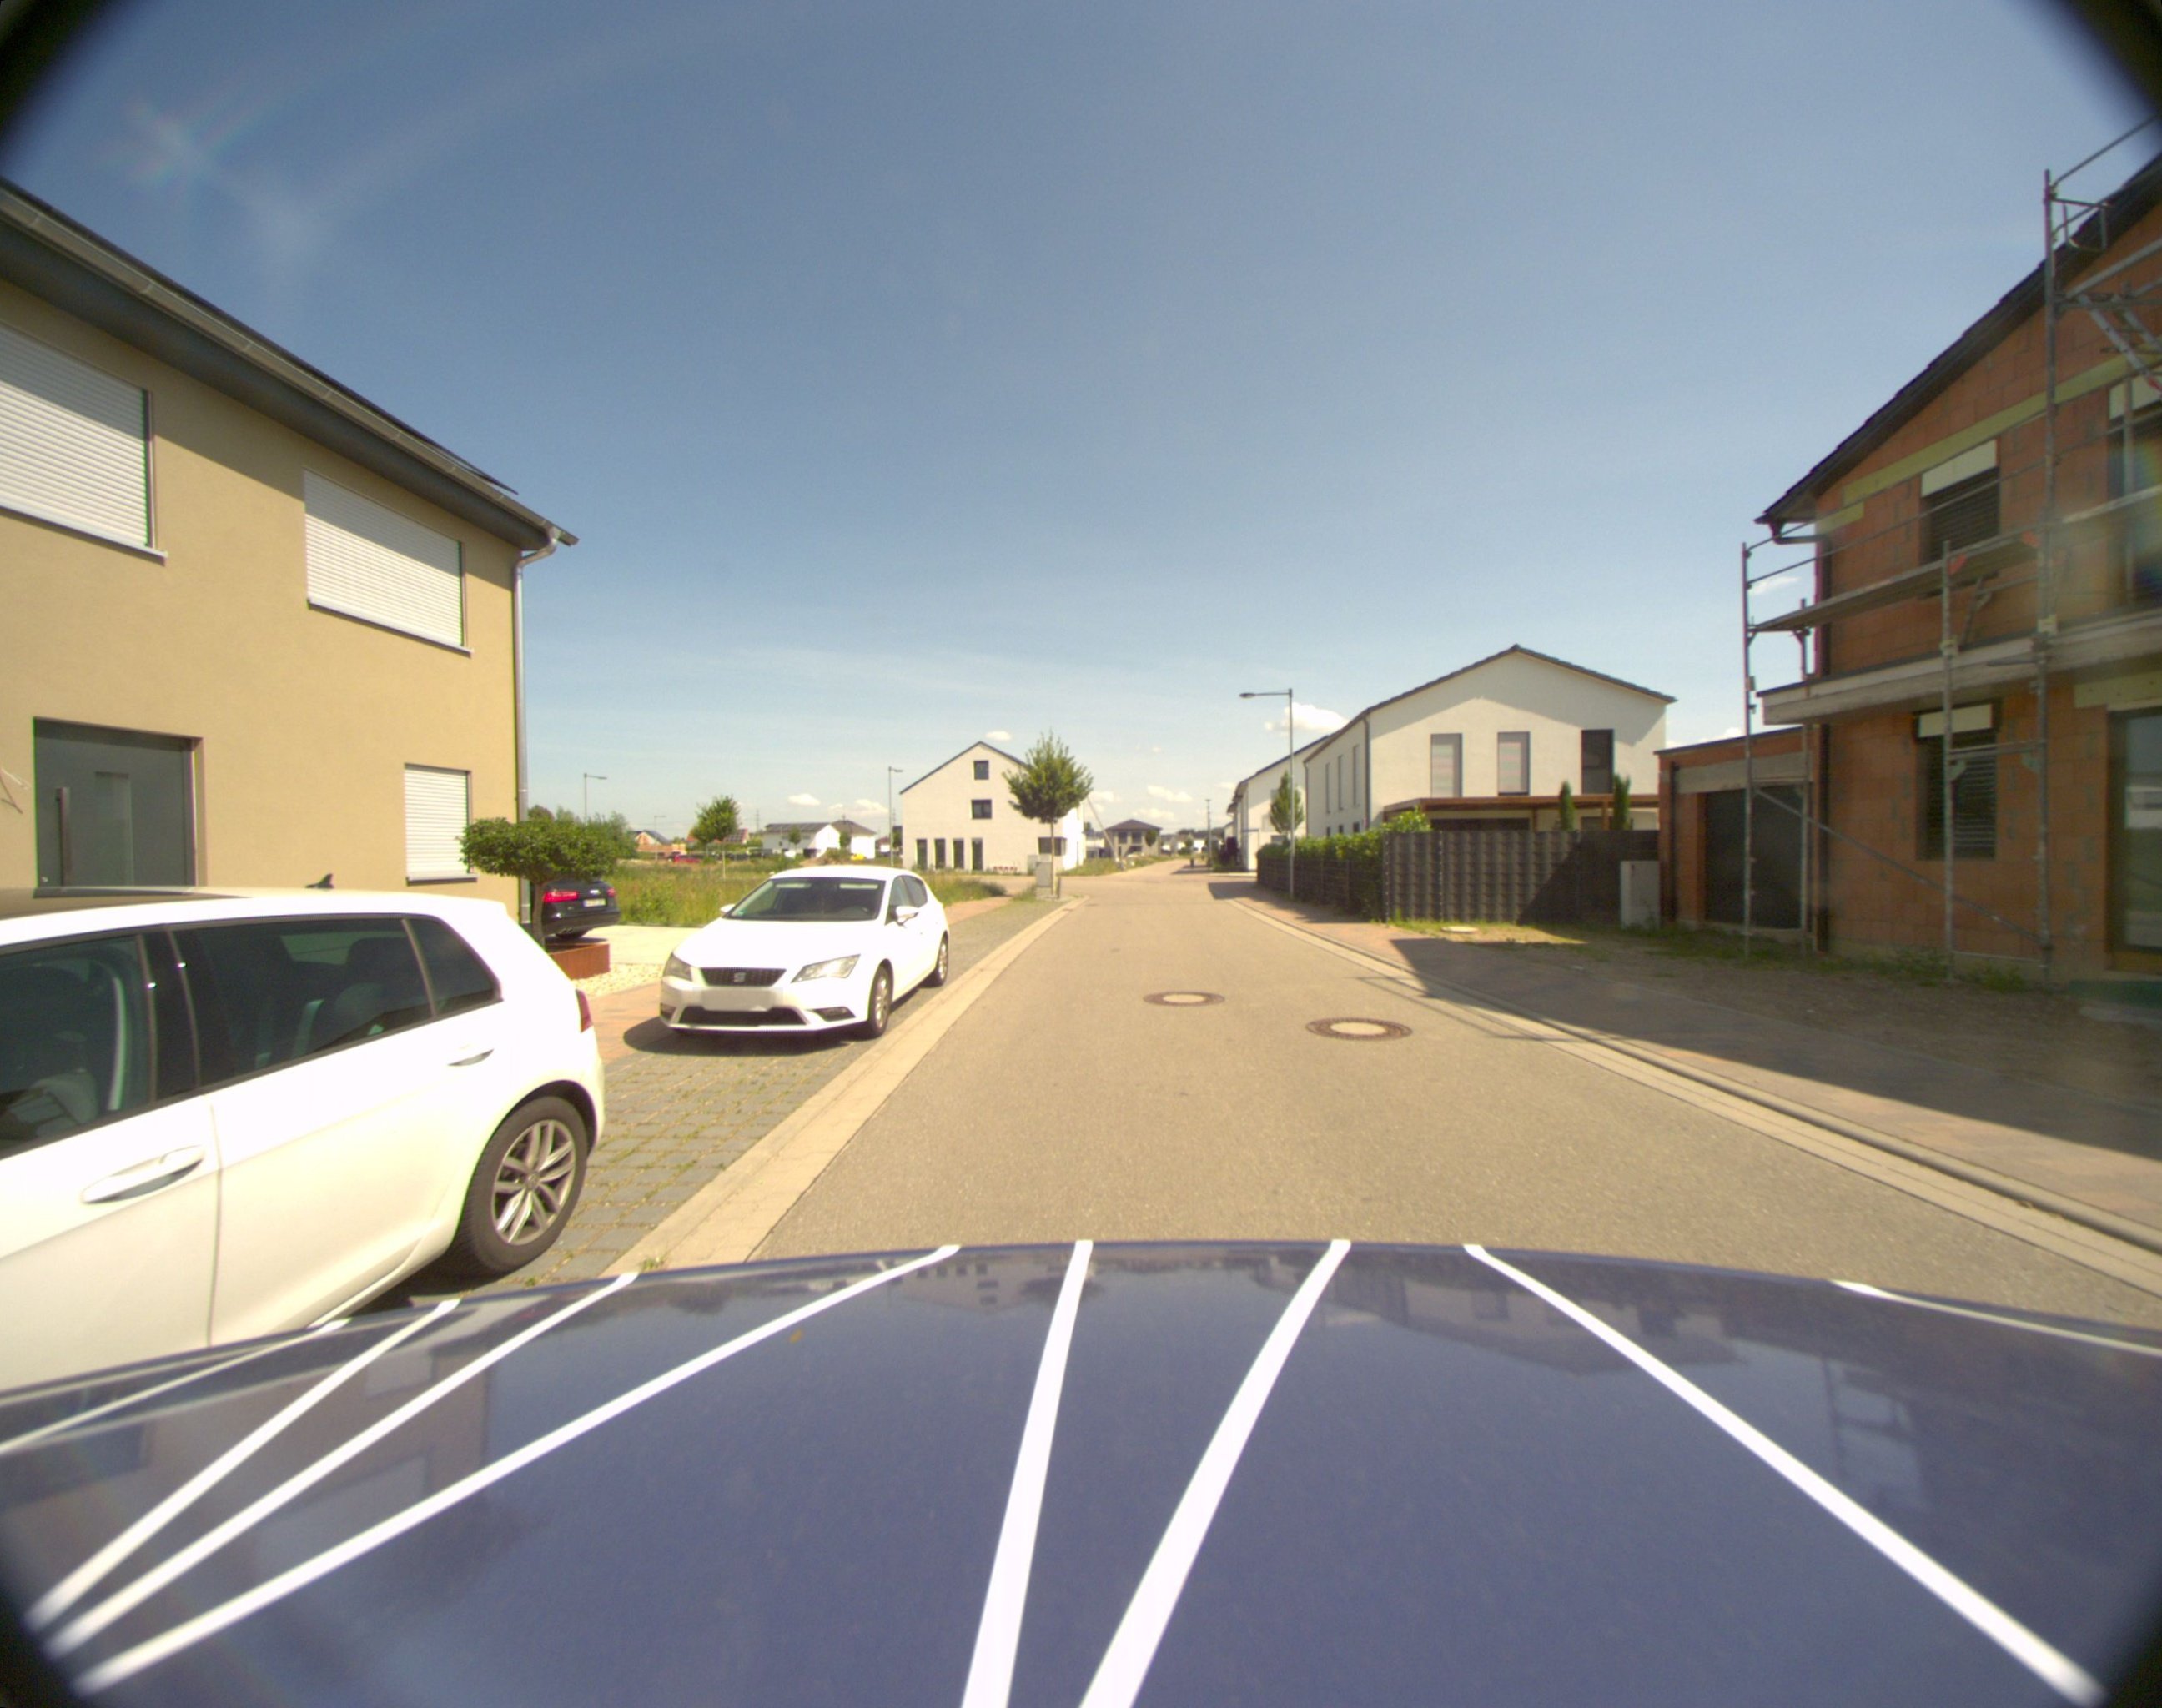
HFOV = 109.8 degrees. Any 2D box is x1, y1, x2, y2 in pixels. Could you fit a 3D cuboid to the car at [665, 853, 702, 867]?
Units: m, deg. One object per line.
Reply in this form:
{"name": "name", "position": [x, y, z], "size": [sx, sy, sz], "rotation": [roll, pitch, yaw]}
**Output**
{"name": "car", "position": [-46.692, 0.693, 89.329], "size": [1.807, 1.606, 4.003], "rotation": [0, 1, 10]}

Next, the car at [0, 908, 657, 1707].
{"name": "car", "position": [-2.942, 0.962, 1.381], "size": [1.784, 1.417, 4.514], "rotation": [1, 0, 0]}

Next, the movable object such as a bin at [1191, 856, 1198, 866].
{"name": "movable object such as a bin", "position": [10.895, 0.676, 72.946], "size": [0.597, 0.916, 0.462], "rotation": [0, 1, 11]}

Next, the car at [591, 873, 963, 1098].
{"name": "car", "position": [-2.530, 0.989, 7.702], "size": [1.818, 1.447, 4.564], "rotation": [1, 0, 2]}

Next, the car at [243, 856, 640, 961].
{"name": "car", "position": [-10.205, 0.817, 12.393], "size": [4.898, 1.417, 2.000], "rotation": [2, 0, 3]}
